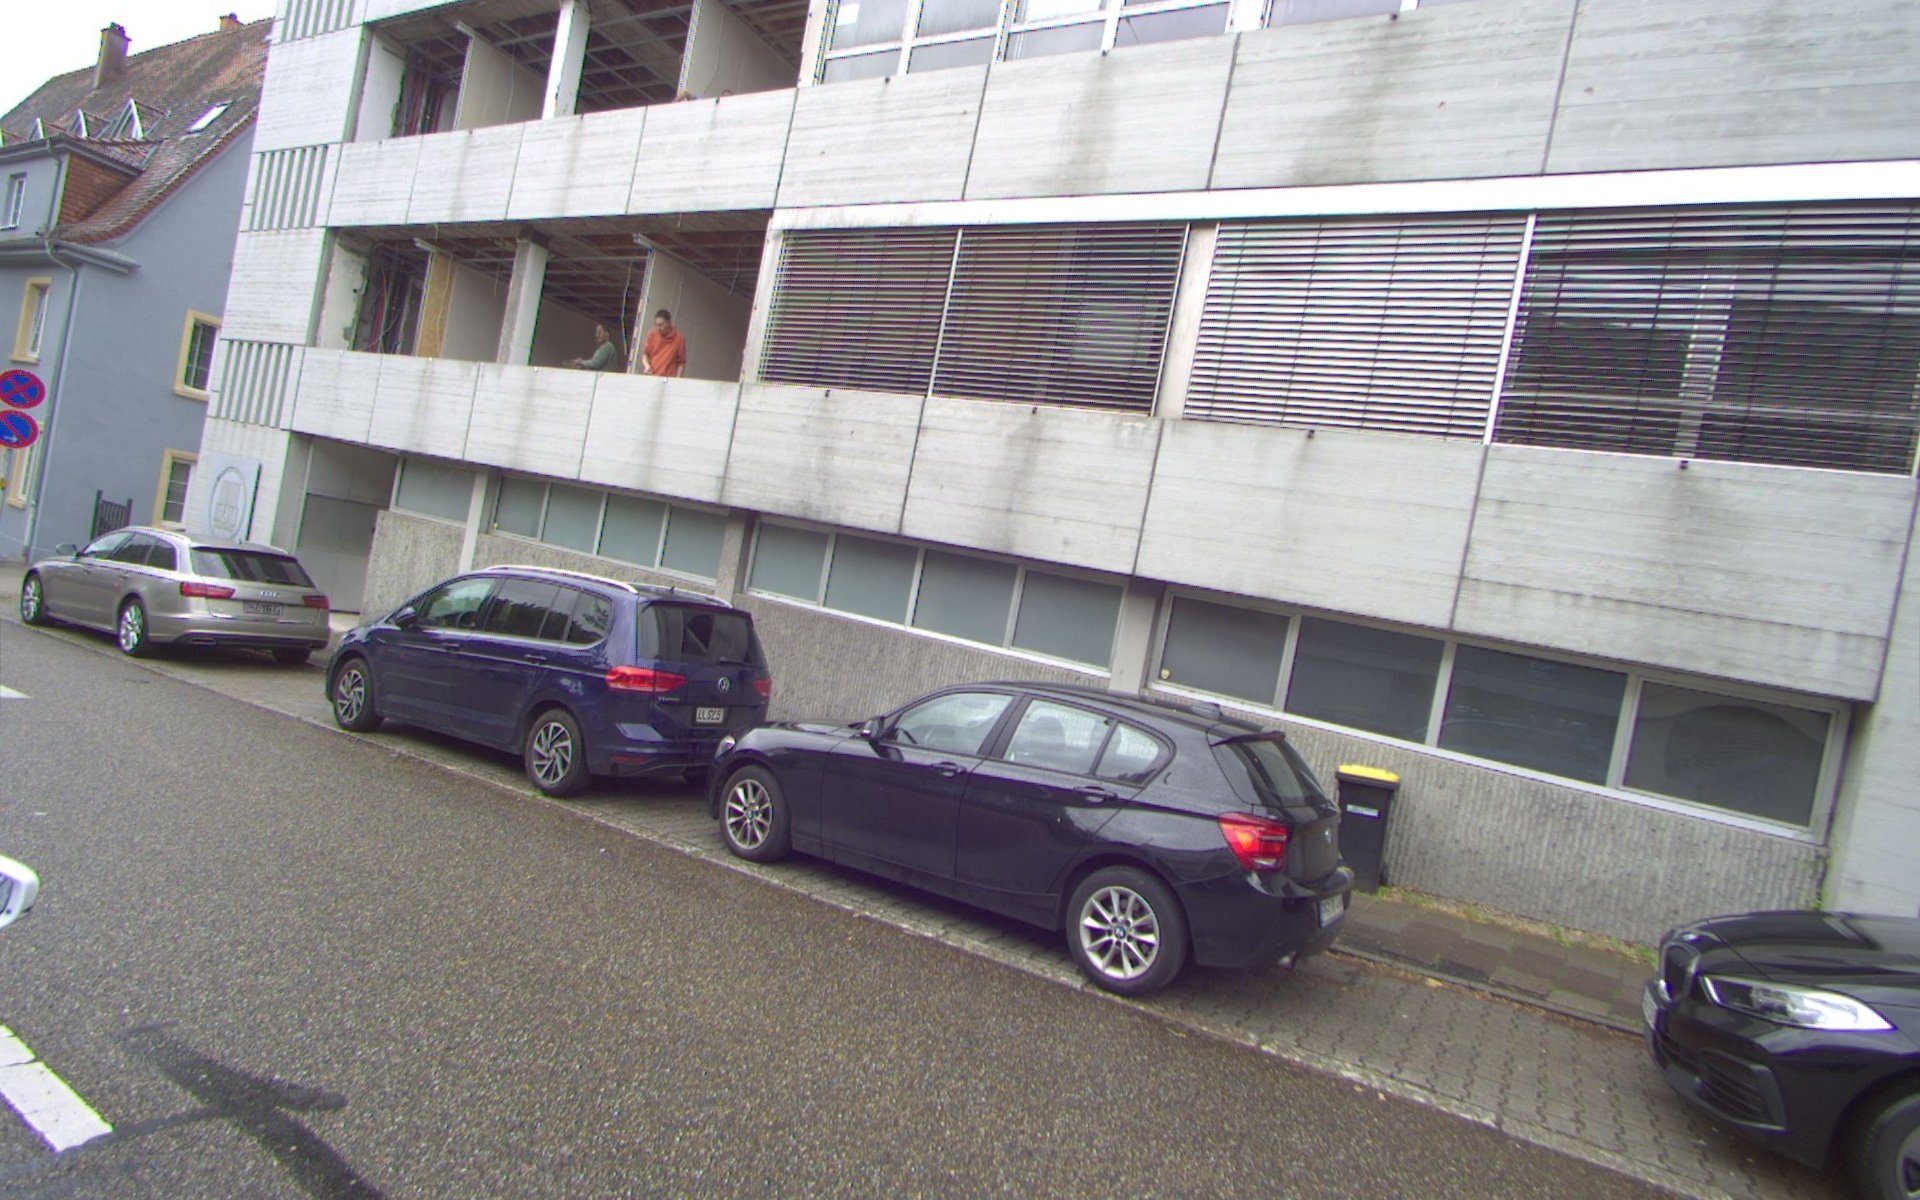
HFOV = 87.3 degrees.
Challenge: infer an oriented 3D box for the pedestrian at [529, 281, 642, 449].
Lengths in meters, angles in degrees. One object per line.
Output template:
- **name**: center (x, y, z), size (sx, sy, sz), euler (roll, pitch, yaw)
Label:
- **pedestrian**: center (-5.179, -3.210, 13.938), size (0.847, 2.036, 0.909), euler (6, -2, 31)

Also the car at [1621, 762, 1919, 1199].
- **car**: center (5.100, 1.754, 3.529), size (4.367, 1.452, 1.997), euler (7, -1, 30)

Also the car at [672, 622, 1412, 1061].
- **car**: center (0.346, 1.164, 6.307), size (4.183, 1.465, 1.750), euler (7, -1, 34)

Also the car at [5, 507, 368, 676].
- **car**: center (-9.792, -0.132, 12.673), size (4.449, 1.465, 1.966), euler (7, -1, 30)

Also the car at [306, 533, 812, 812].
- **car**: center (-3.513, 0.507, 8.648), size (4.090, 1.618, 1.732), euler (7, -1, 30)

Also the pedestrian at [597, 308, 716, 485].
- **pedestrian**: center (-3.945, -2.608, 13.106), size (0.847, 2.036, 0.909), euler (6, -2, 31)
